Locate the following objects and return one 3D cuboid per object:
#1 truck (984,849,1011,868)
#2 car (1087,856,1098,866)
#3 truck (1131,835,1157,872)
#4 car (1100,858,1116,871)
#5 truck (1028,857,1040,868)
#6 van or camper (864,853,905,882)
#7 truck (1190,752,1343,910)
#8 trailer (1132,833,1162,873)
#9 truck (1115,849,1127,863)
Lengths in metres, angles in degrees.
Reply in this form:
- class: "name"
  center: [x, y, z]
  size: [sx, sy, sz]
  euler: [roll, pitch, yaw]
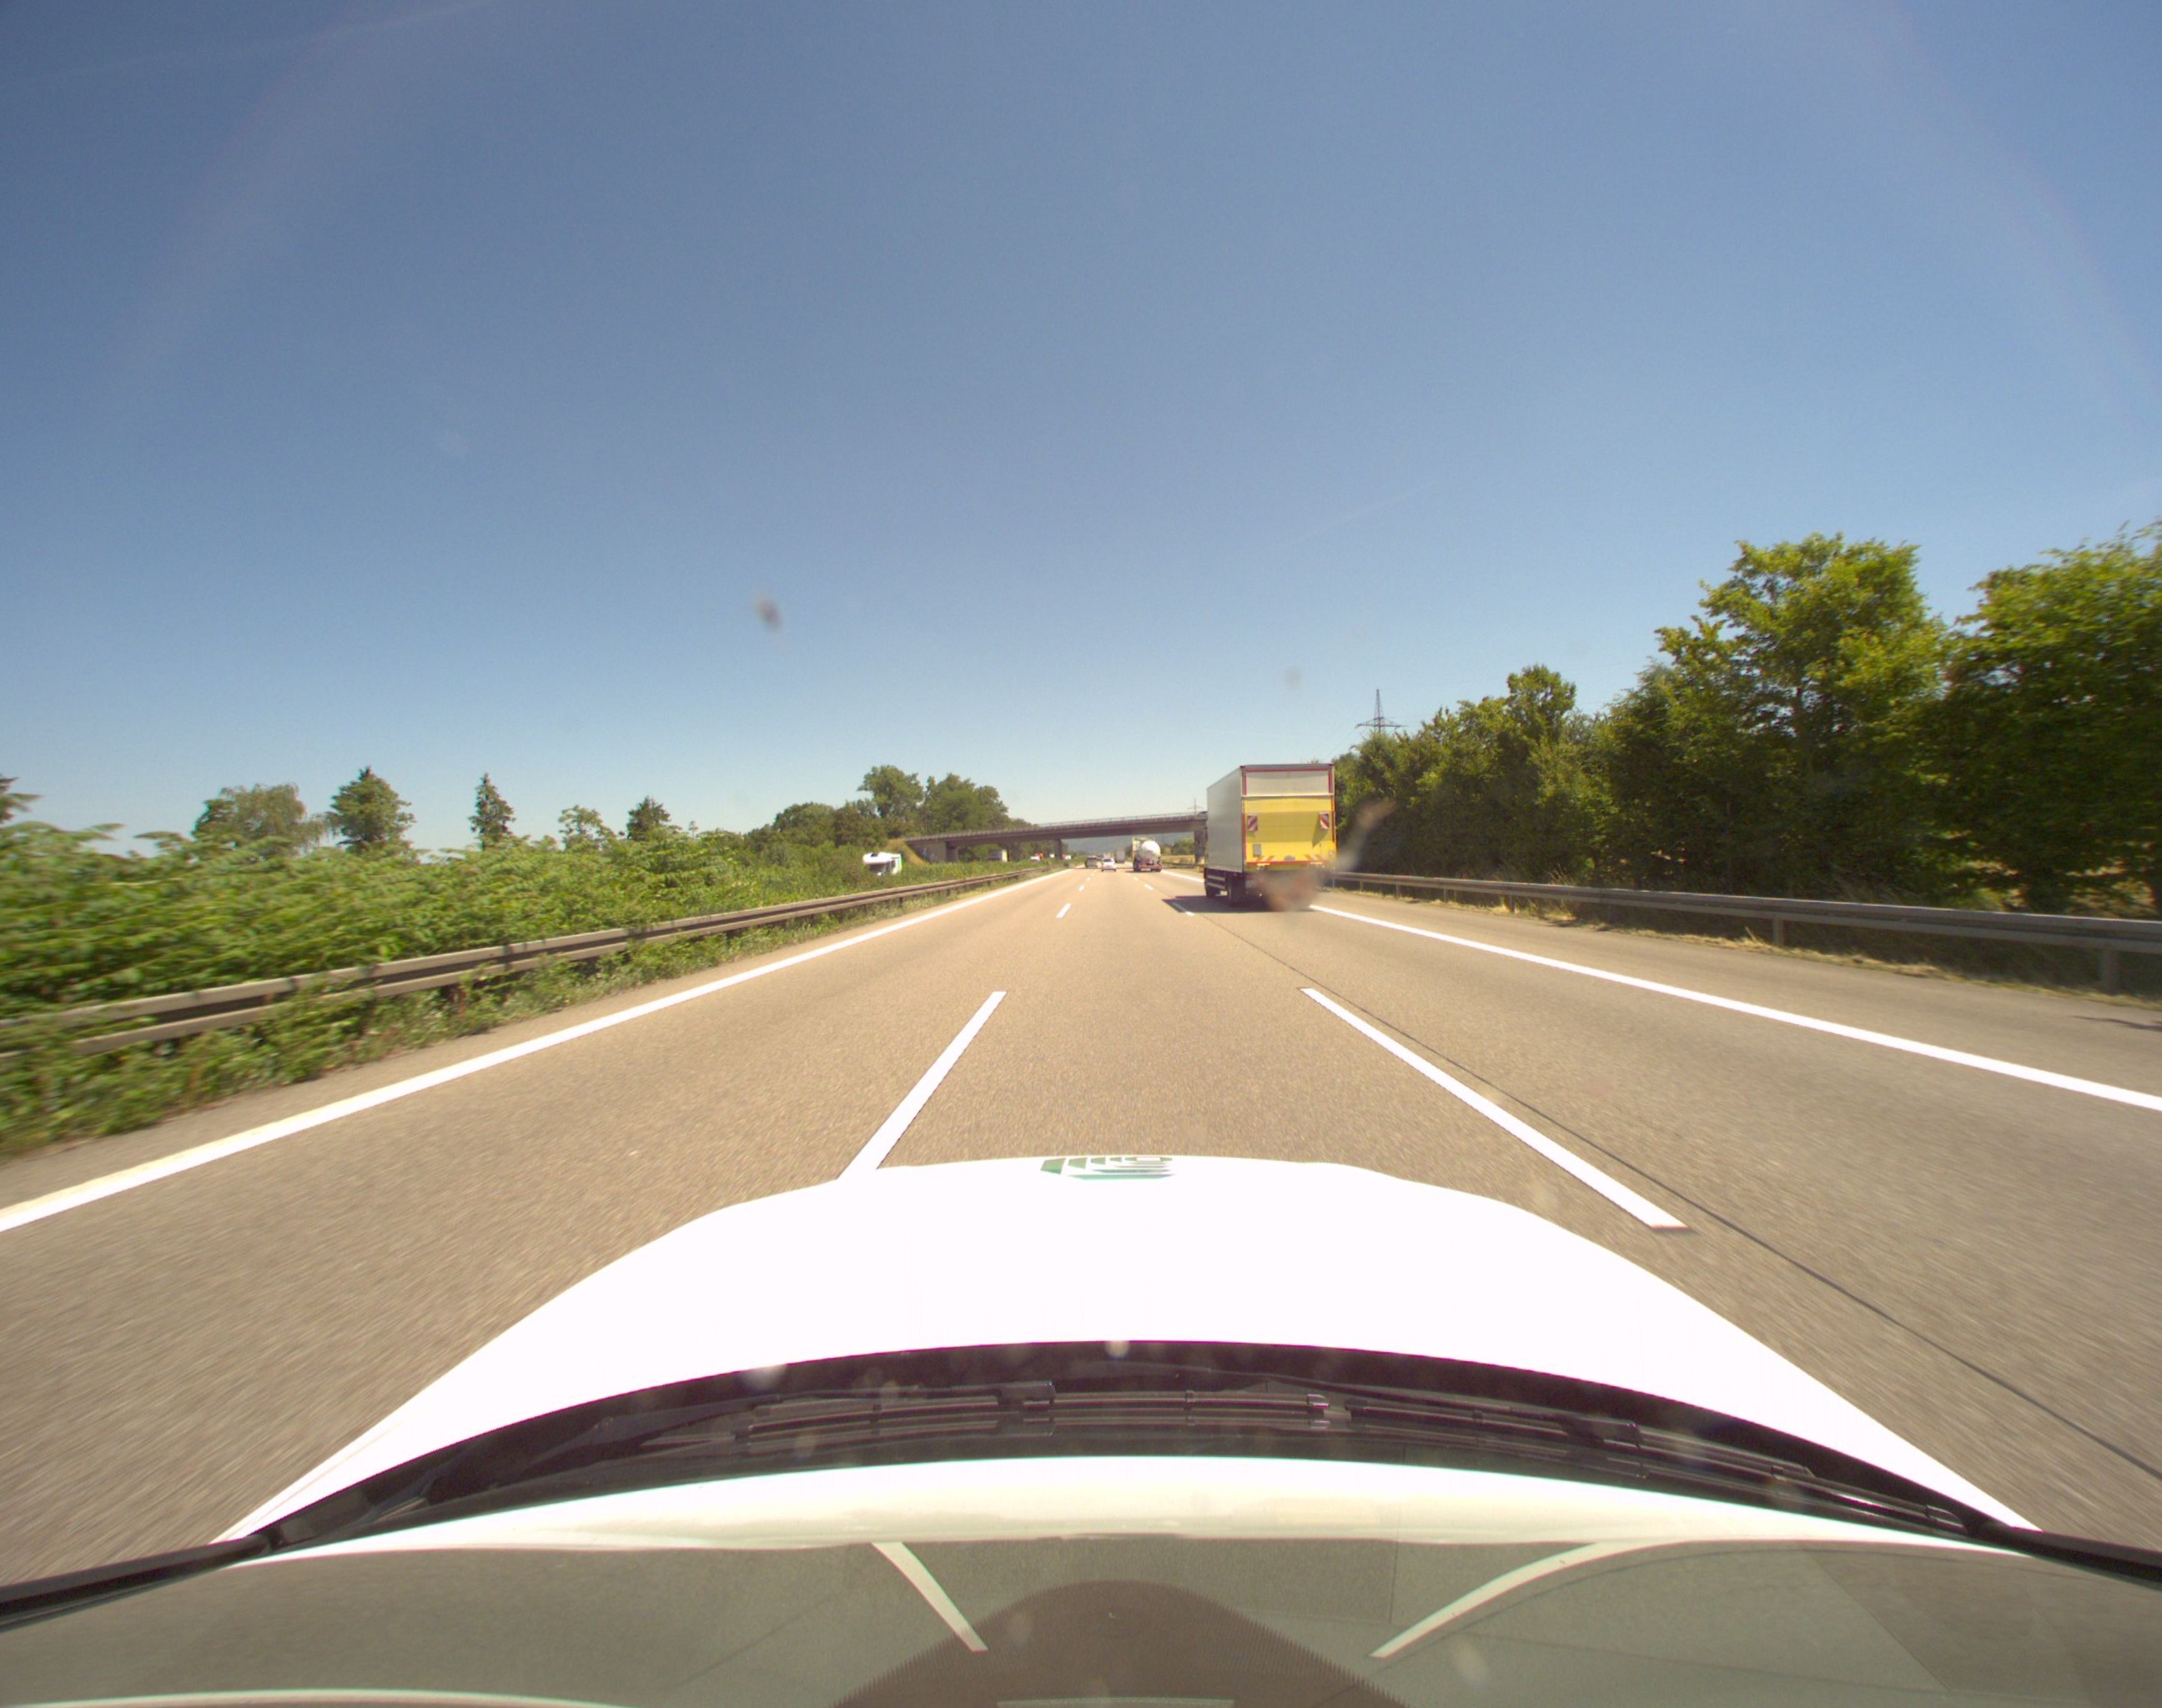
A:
- class: "truck"
  center: [-15.555, 0.834, 152.433]
  size: [2.863, 3.498, 10.750]
  euler: [0, 0, 5]
- class: "car"
  center: [1.939, 1.230, 137.131]
  size: [1.845, 1.633, 4.002]
  euler: [0, 0, 2]
- class: "truck"
  center: [7.172, -0.076, 93.515]
  size: [2.564, 4.072, 6.394]
  euler: [0, 0, 1]
- class: "car"
  center: [3.141, 1.219, 94.320]
  size: [1.800, 1.468, 4.002]
  euler: [0, 0, 2]
- class: "truck"
  center: [-10.322, 1.894, 180.815]
  size: [1.985, 2.399, 6.424]
  euler: [0, 0, 3]
- class: "van or camper"
  center: [-17.738, 1.183, 73.916]
  size: [1.986, 2.545, 6.301]
  euler: [0, 0, 2]
- class: "truck"
  center: [5.645, -0.587, 27.012]
  size: [2.923, 4.200, 10.684]
  euler: [0, 0, 1]
- class: "trailer"
  center: [7.053, -0.098, 88.567]
  size: [2.570, 4.074, 11.105]
  euler: [0, 0, 1]
- class: "truck"
  center: [11.552, 0.645, 238.667]
  size: [3.253, 3.857, 11.634]
  euler: [0, 0, 1]
